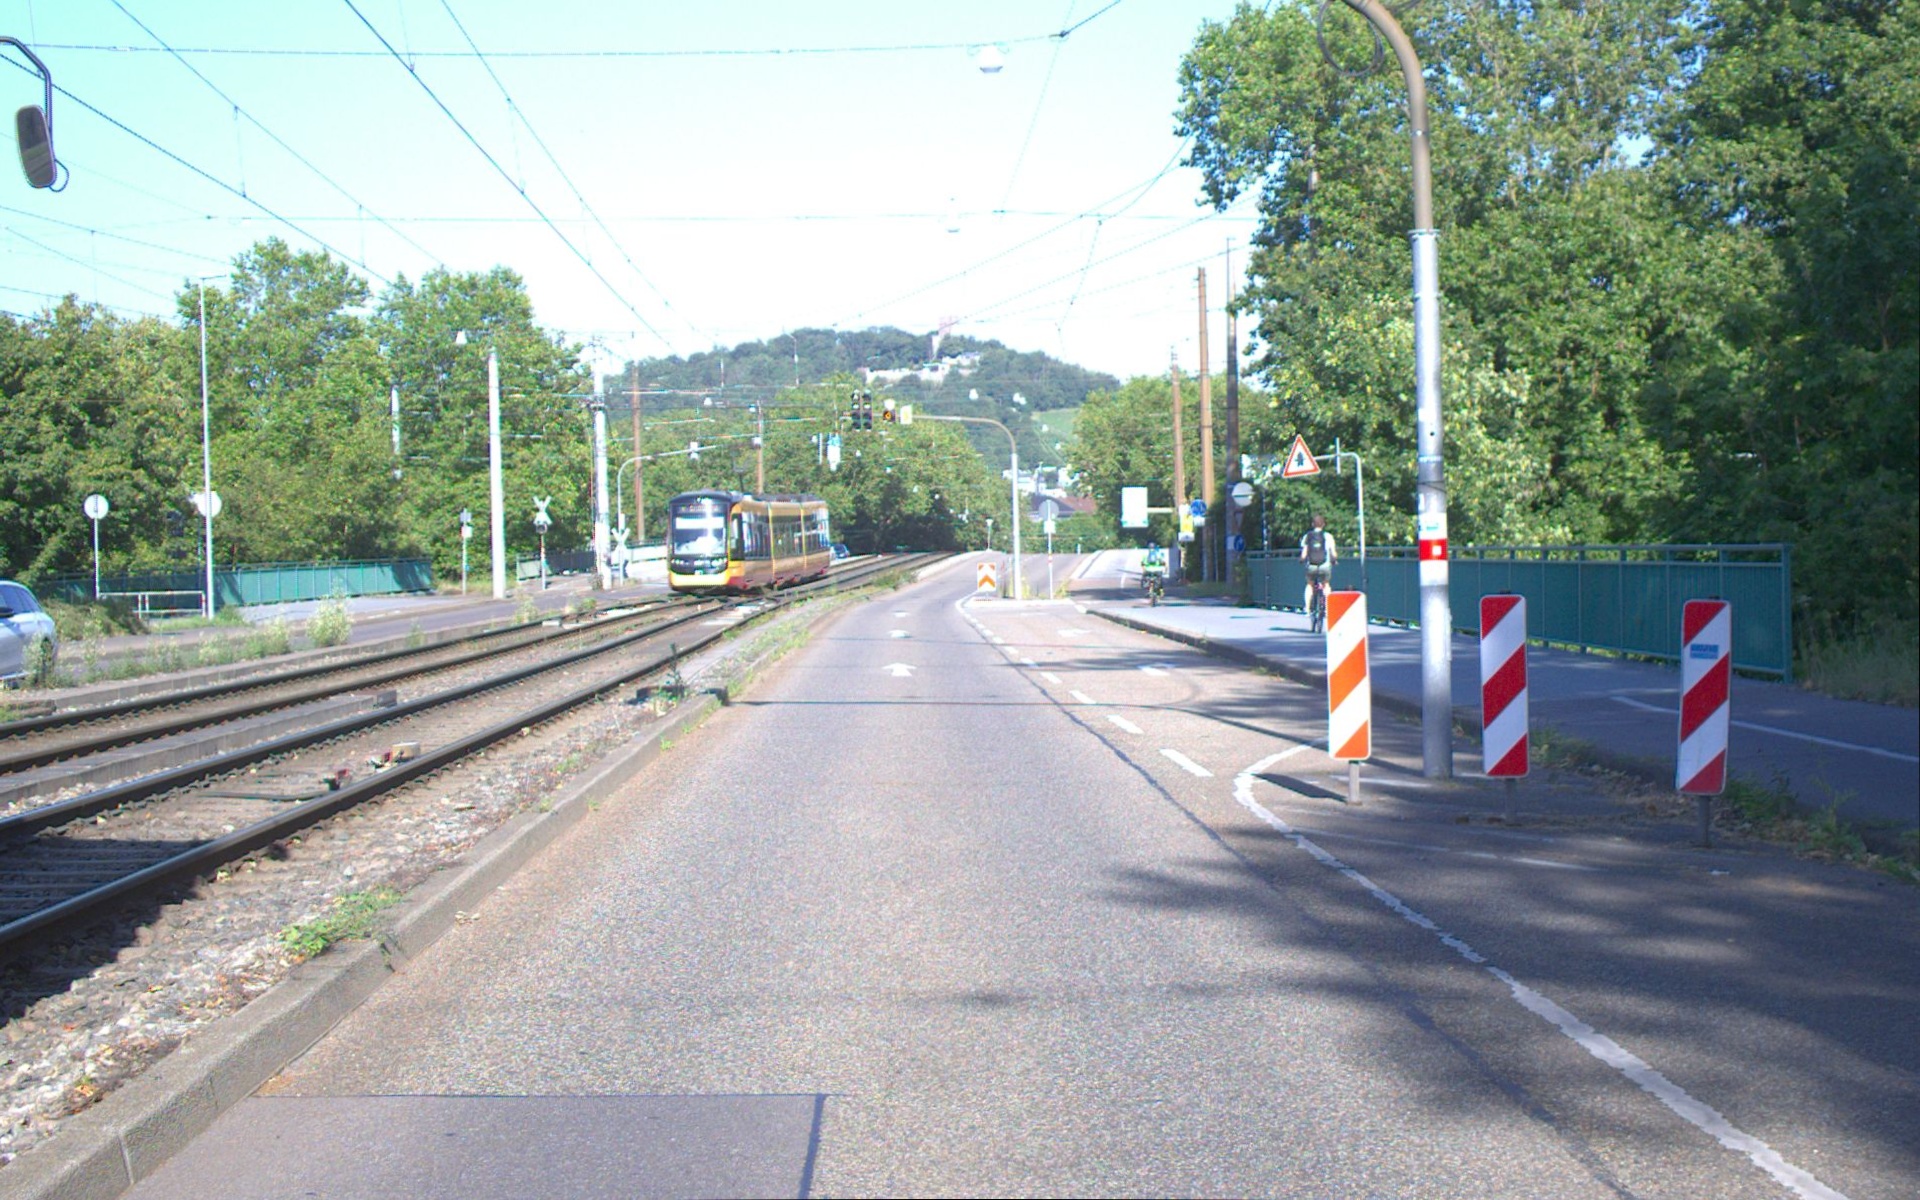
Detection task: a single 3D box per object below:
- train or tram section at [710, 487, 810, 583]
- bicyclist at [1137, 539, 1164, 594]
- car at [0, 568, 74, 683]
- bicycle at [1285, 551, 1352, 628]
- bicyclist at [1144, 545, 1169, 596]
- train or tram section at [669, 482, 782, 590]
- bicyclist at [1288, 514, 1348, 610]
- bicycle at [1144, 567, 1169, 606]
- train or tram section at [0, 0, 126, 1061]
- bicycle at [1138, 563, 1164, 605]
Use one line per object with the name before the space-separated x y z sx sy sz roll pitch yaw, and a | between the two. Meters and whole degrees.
train or tram section | -7.513 -2.443 130.447 2.644 3.464 10.831 0 1 3
bicyclist | 4.805 -0.847 86.681 0.604 1.374 0.975 -1 1 -1
car | -12.881 0.322 44.126 1.767 1.408 4.912 -1 1 0
bicycle | 5.738 -0.185 55.108 0.727 1.172 2.695 -1 1 -1
bicyclist | 5.423 -0.818 95.052 0.604 1.374 0.975 -1 1 -1
train or tram section | -8.032 -2.216 119.196 2.644 3.554 10.831 -1 1 3
bicyclist | 5.726 -0.612 55.045 0.824 1.515 0.975 -1 1 -1
bicycle | 5.422 -0.377 95.056 0.539 1.038 1.975 -1 1 -1
train or tram section | -4.163 -0.558 5.369 2.719 4.075 12.814 -2 1 -1
bicycle | 4.813 -0.407 86.680 0.515 1.038 1.975 -1 1 -1
